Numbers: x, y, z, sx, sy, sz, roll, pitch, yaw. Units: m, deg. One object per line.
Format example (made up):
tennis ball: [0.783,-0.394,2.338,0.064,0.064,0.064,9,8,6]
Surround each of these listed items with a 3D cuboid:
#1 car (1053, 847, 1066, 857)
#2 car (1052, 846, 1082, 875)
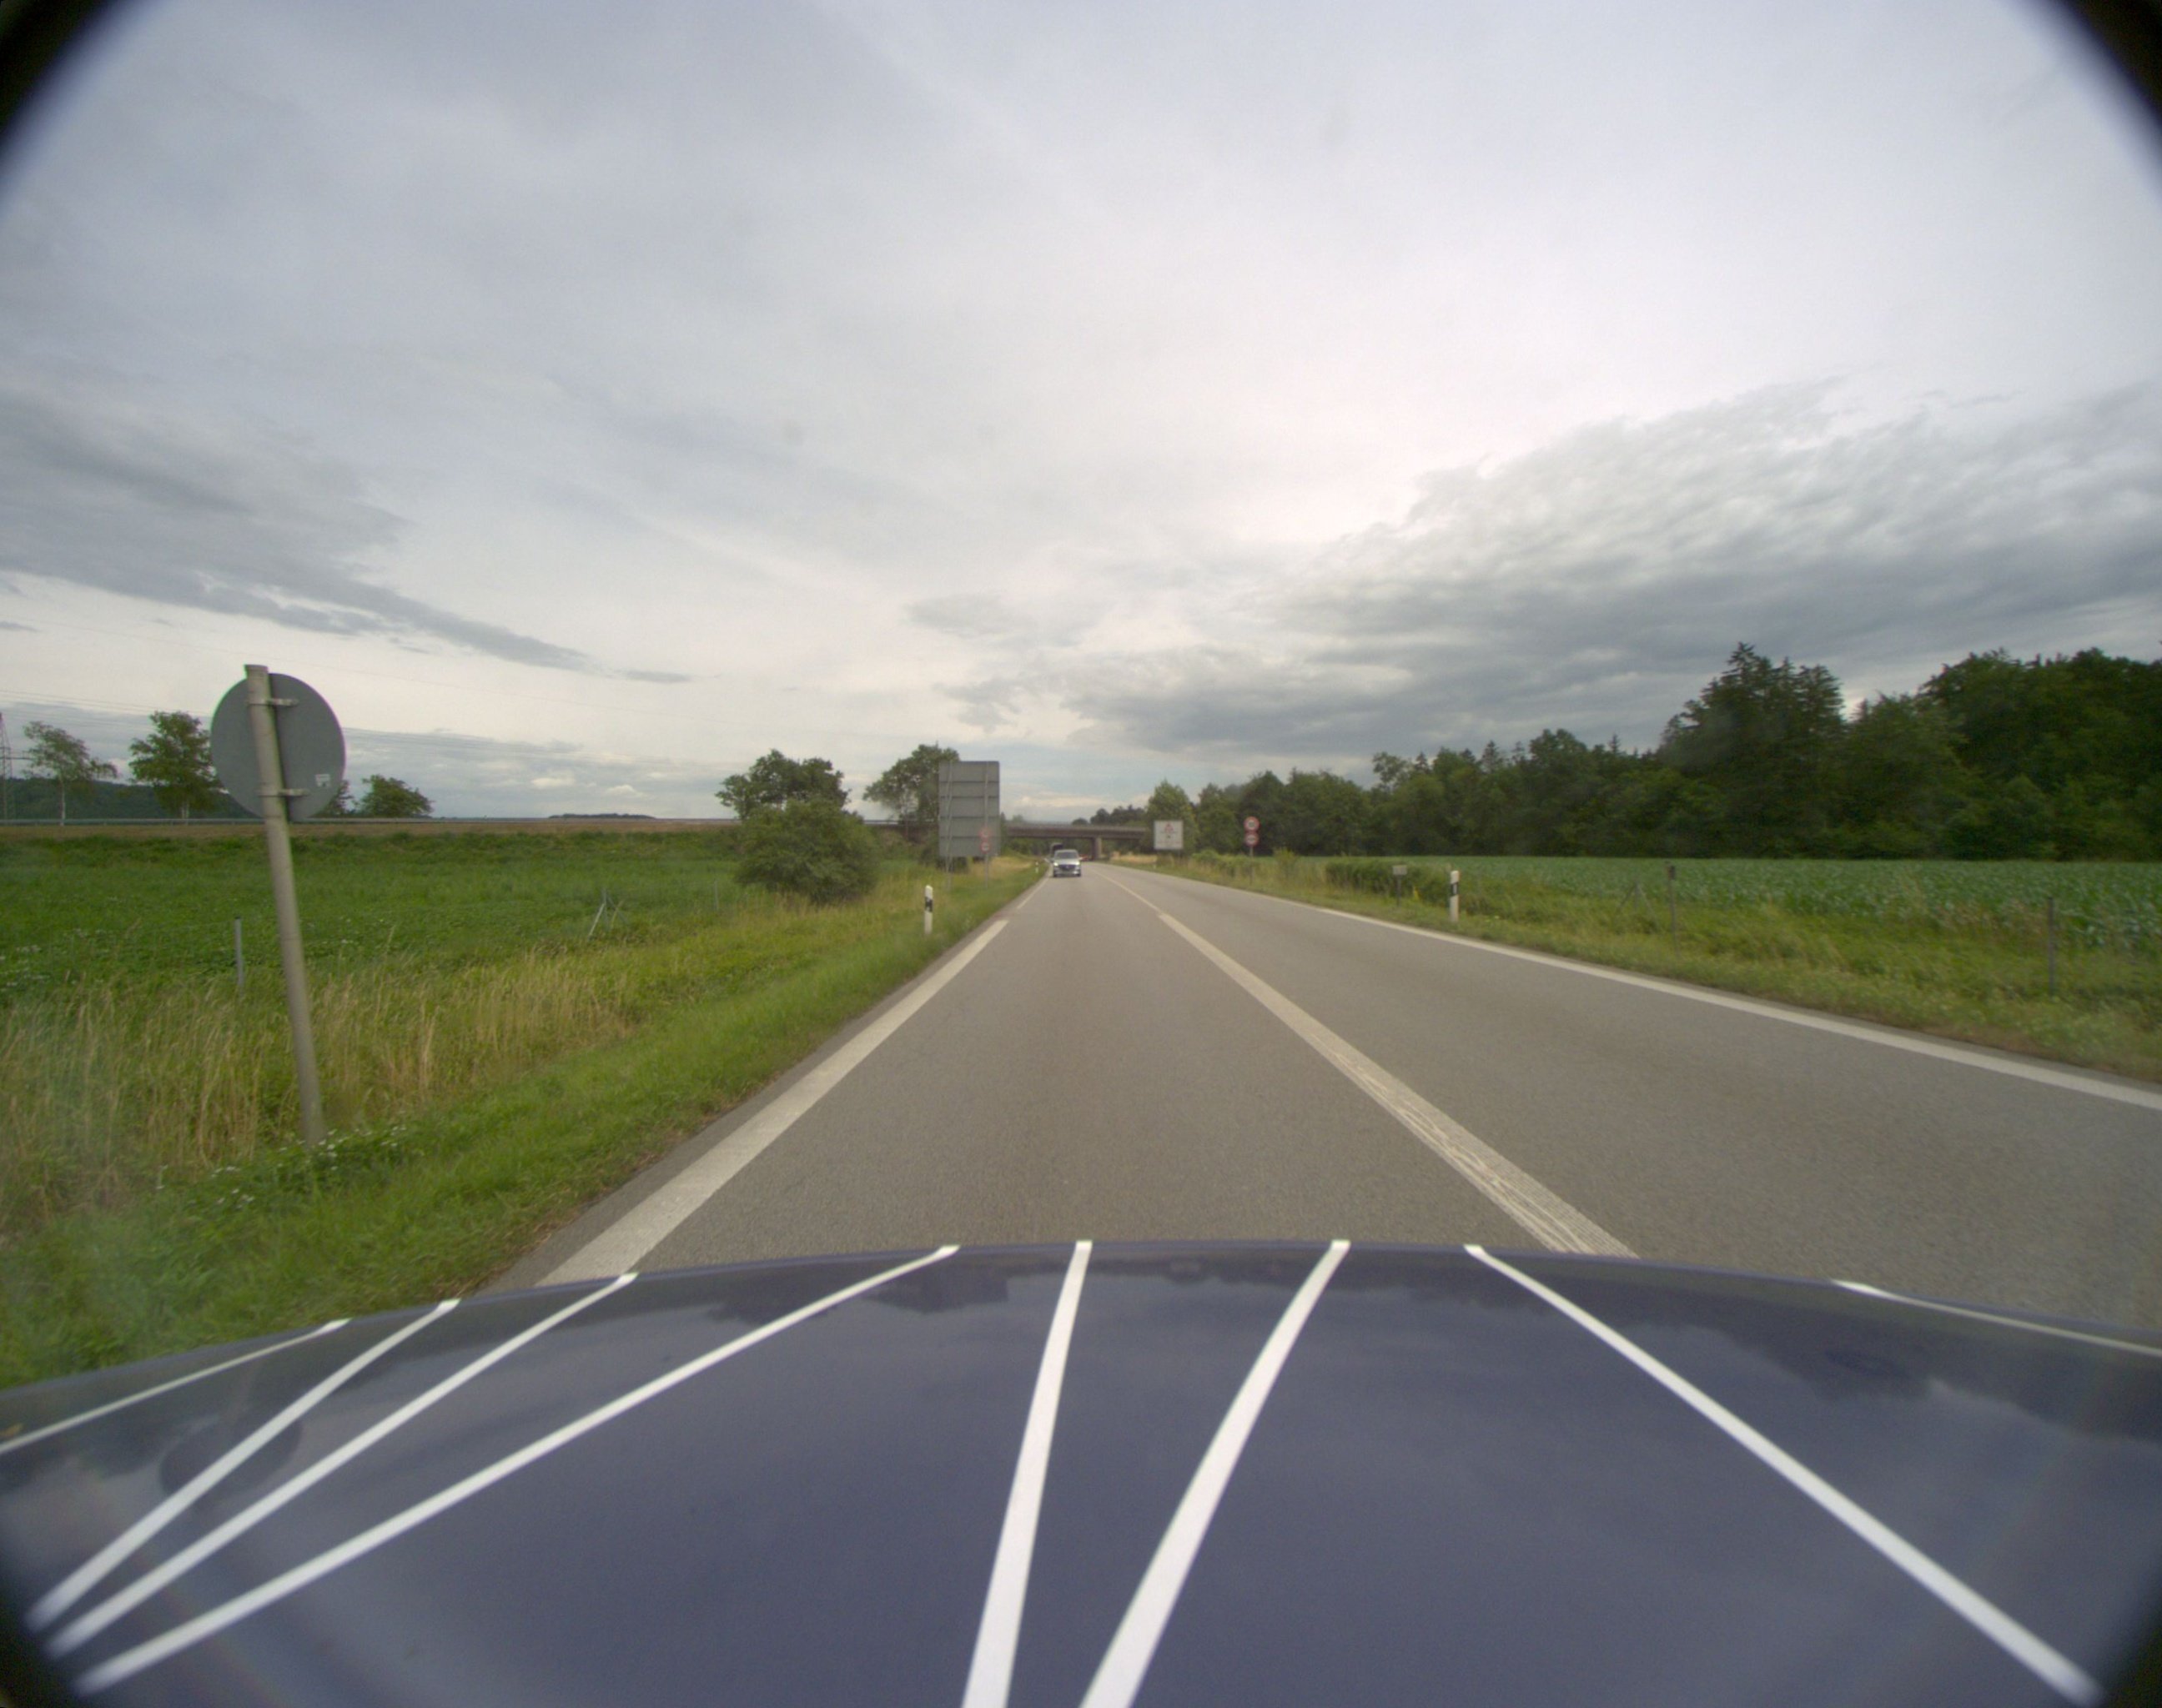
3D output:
car: [-4.533,-0.452,160.570,1.997,2.002,4.001,-2,1,7]
car: [-0.971,0.433,52.972,1.924,1.823,3.999,-3,1,-2]
